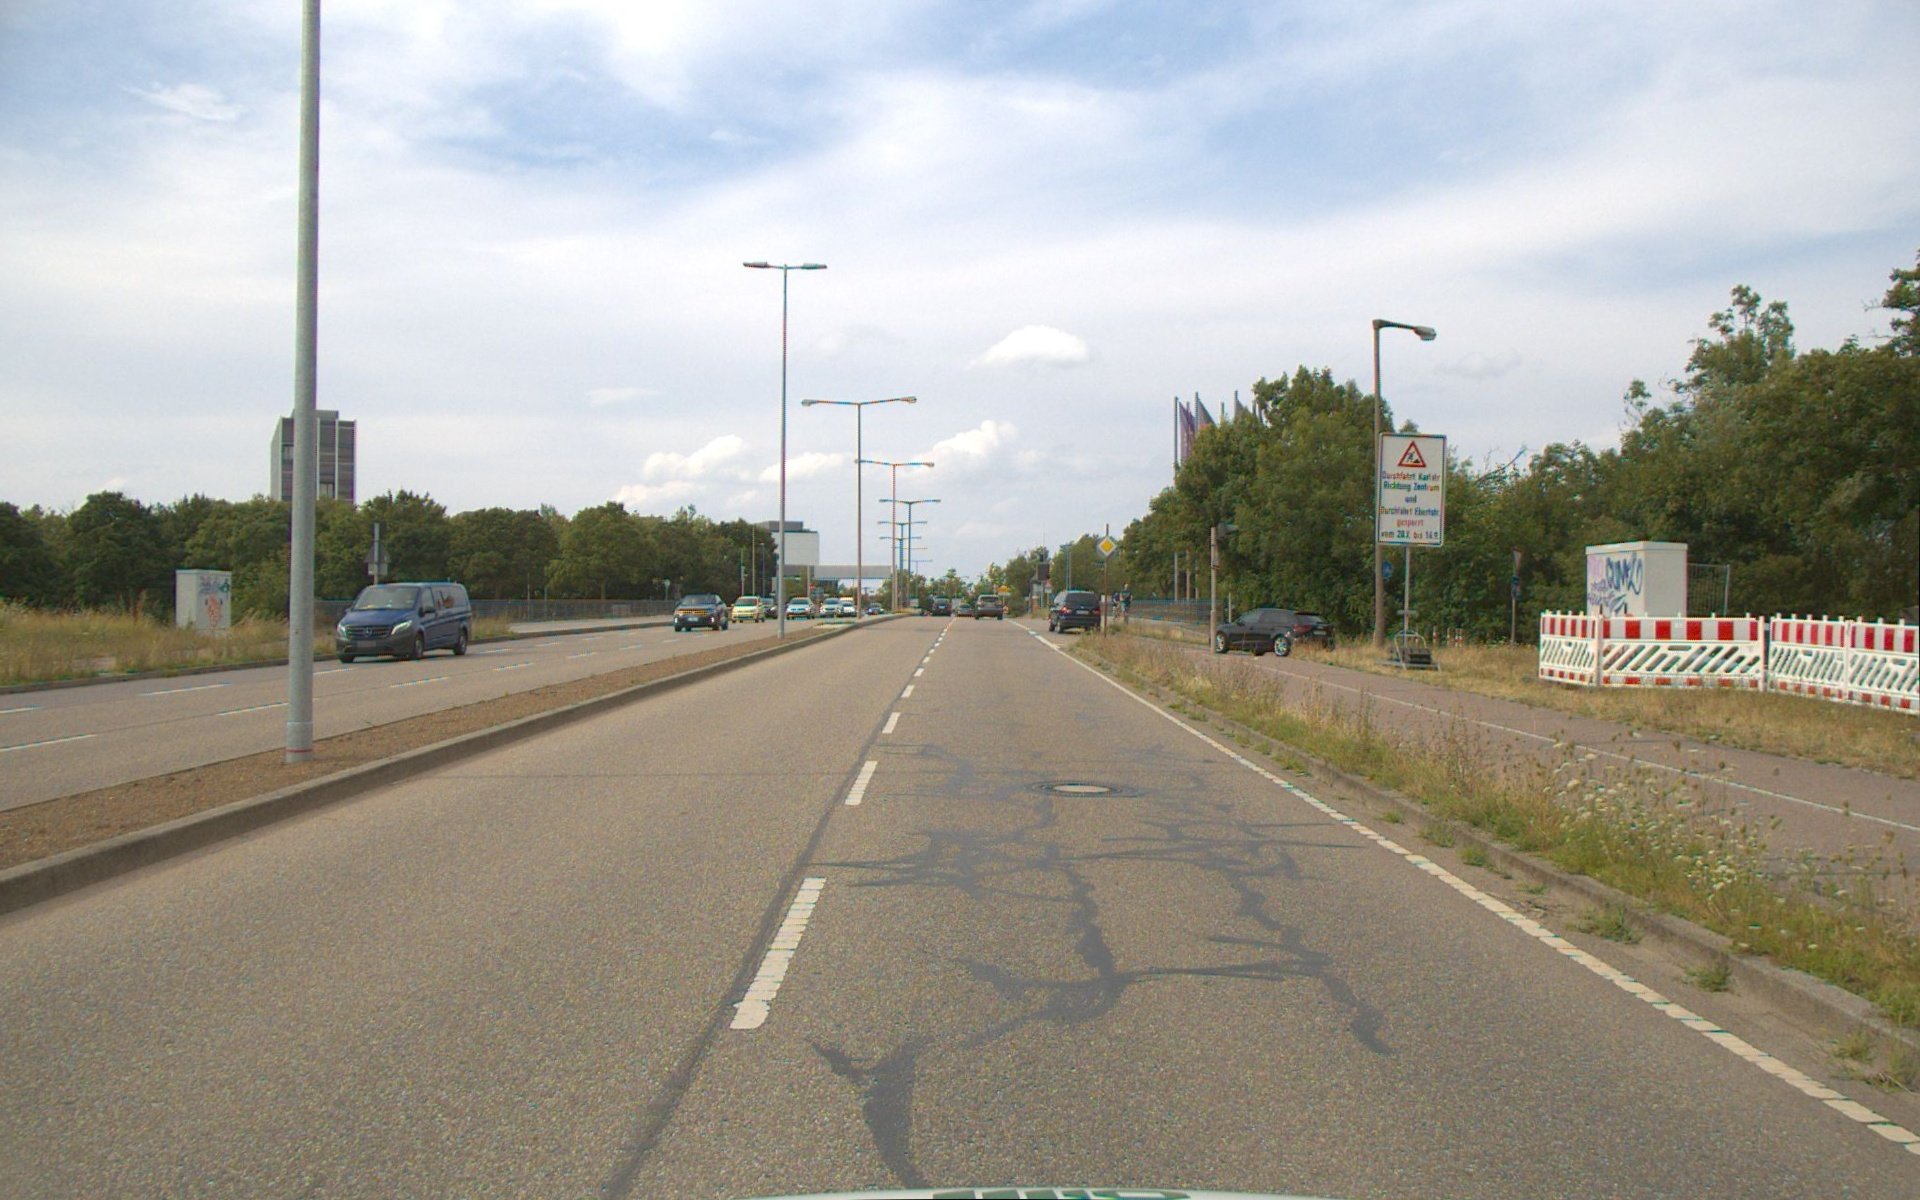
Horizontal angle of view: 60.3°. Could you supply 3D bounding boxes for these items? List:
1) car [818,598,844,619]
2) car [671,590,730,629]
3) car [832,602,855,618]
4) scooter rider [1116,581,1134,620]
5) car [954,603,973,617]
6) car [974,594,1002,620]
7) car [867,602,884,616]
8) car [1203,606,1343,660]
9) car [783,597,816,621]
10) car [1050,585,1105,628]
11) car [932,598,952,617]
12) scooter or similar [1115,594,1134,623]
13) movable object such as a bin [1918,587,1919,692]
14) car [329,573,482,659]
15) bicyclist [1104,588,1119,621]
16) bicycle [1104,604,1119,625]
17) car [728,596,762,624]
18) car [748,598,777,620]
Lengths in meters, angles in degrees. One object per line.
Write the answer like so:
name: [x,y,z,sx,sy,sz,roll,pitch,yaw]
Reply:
car: [-11.312,0.711,145.068,1.824,1.755,4.770,-1,0,1]
car: [-10.546,0.354,67.482,1.727,1.466,4.177,-1,1,0]
car: [-11.481,0.992,163.756,1.702,1.506,4.473,-1,0,3]
scooter rider: [7.419,0.022,74.359,0.576,1.720,0.742,2,0,-8]
car: [0.422,1.157,191.017,1.697,1.553,4.109,1,-1,-6]
car: [1.832,0.475,109.516,1.695,1.682,4.114,1,-1,-1]
car: [-9.625,1.041,189.207,1.703,1.506,4.775,-1,-1,0]
car: [9.133,0.945,48.521,1.715,1.419,4.067,0,1,-34]
car: [-11.023,0.580,113.514,1.615,1.542,4.018,-1,1,3]
car: [4.812,0.294,68.386,1.696,1.682,4.111,1,-1,-4]
car: [-1.660,0.734,154.732,1.695,1.682,4.115,1,-1,1]
scooter or similar: [7.406,0.382,74.393,0.577,1.246,1.200,2,0,-8]
movable object such as a bin: [18.087,0.221,26.323,4.407,2.736,2.103,2,0,4]
car: [-13.693,0.336,41.234,1.809,1.927,5.505,-2,0,1]
bicyclist: [7.977,0.229,87.228,0.651,1.688,0.805,1,1,-1]
bicycle: [7.970,0.743,87.225,0.565,1.040,1.975,-2,1,0]
car: [-12.731,0.582,98.191,1.517,1.605,3.690,-1,1,0]
car: [-14.618,0.671,122.714,1.704,1.542,4.315,-1,0,-1]
